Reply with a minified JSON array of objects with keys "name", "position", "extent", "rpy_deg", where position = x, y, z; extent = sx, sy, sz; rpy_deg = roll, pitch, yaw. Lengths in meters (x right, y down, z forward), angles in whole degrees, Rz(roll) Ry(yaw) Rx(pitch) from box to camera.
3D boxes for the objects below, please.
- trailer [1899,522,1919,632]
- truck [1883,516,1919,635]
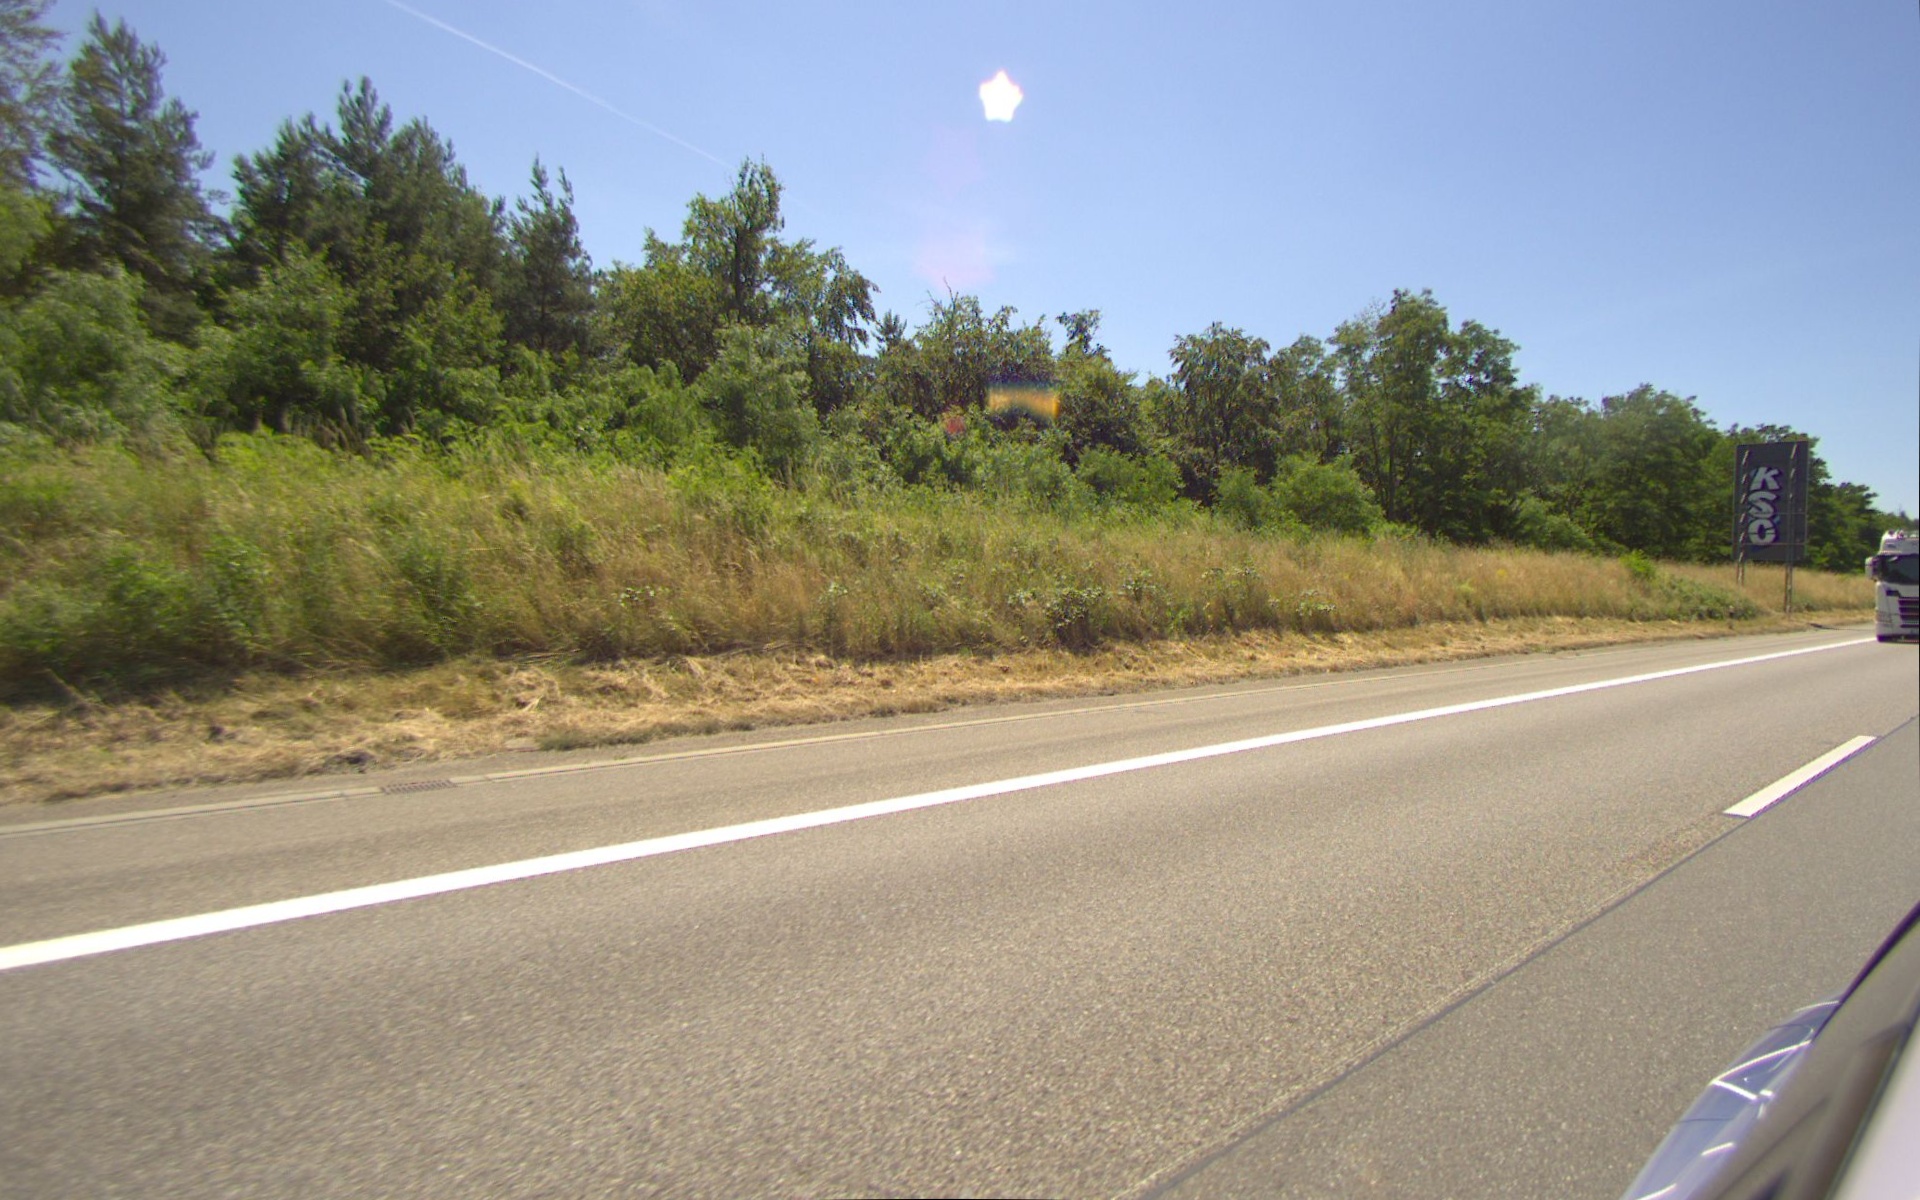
[{"name":"trailer","position":[37.557,-0.818,37.891],"extent":[8.546,3.882,2.603],"rpy_deg":[0,0,-41]},{"name":"truck","position":[33.857,-0.804,34.673],"extent":[5.865,3.882,2.603],"rpy_deg":[0,0,-41]}]
